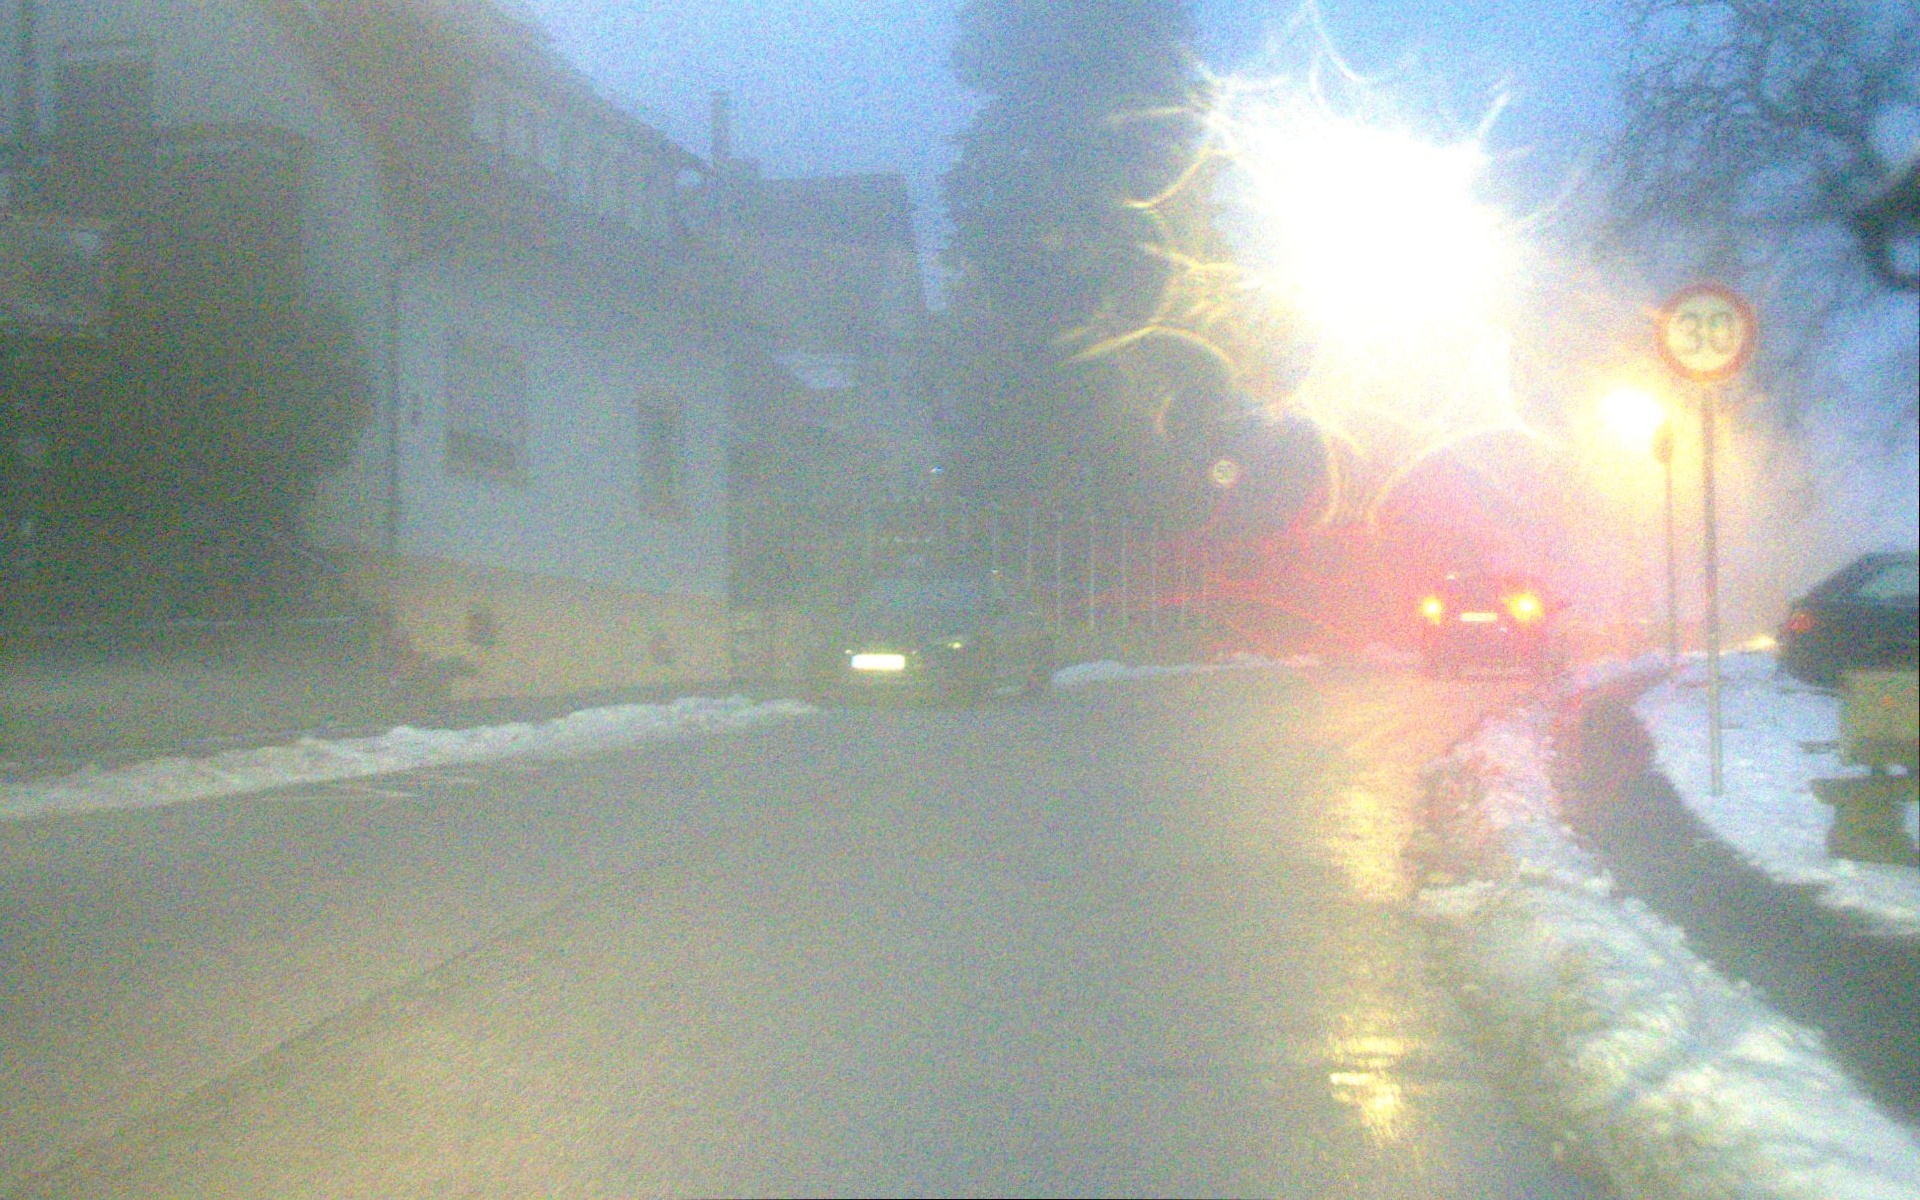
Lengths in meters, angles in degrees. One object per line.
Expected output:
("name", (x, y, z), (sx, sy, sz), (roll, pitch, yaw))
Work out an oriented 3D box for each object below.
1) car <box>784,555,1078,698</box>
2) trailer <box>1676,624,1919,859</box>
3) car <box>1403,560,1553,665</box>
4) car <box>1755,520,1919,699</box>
("car", (-0.210, 0.233, 37.217), (1.878, 1.421, 5.388), (0, 1, 14))
("trailer", (4.799, 0.611, 15.123), (1.544, 0.942, 4.001), (-2, 1, -15))
("car", (7.340, 0.188, 48.803), (1.994, 1.415, 3.998), (-1, -1, 8))
("car", (8.966, 0.165, 28.578), (4.453, 1.377, 2.034), (4, 1, 15))
